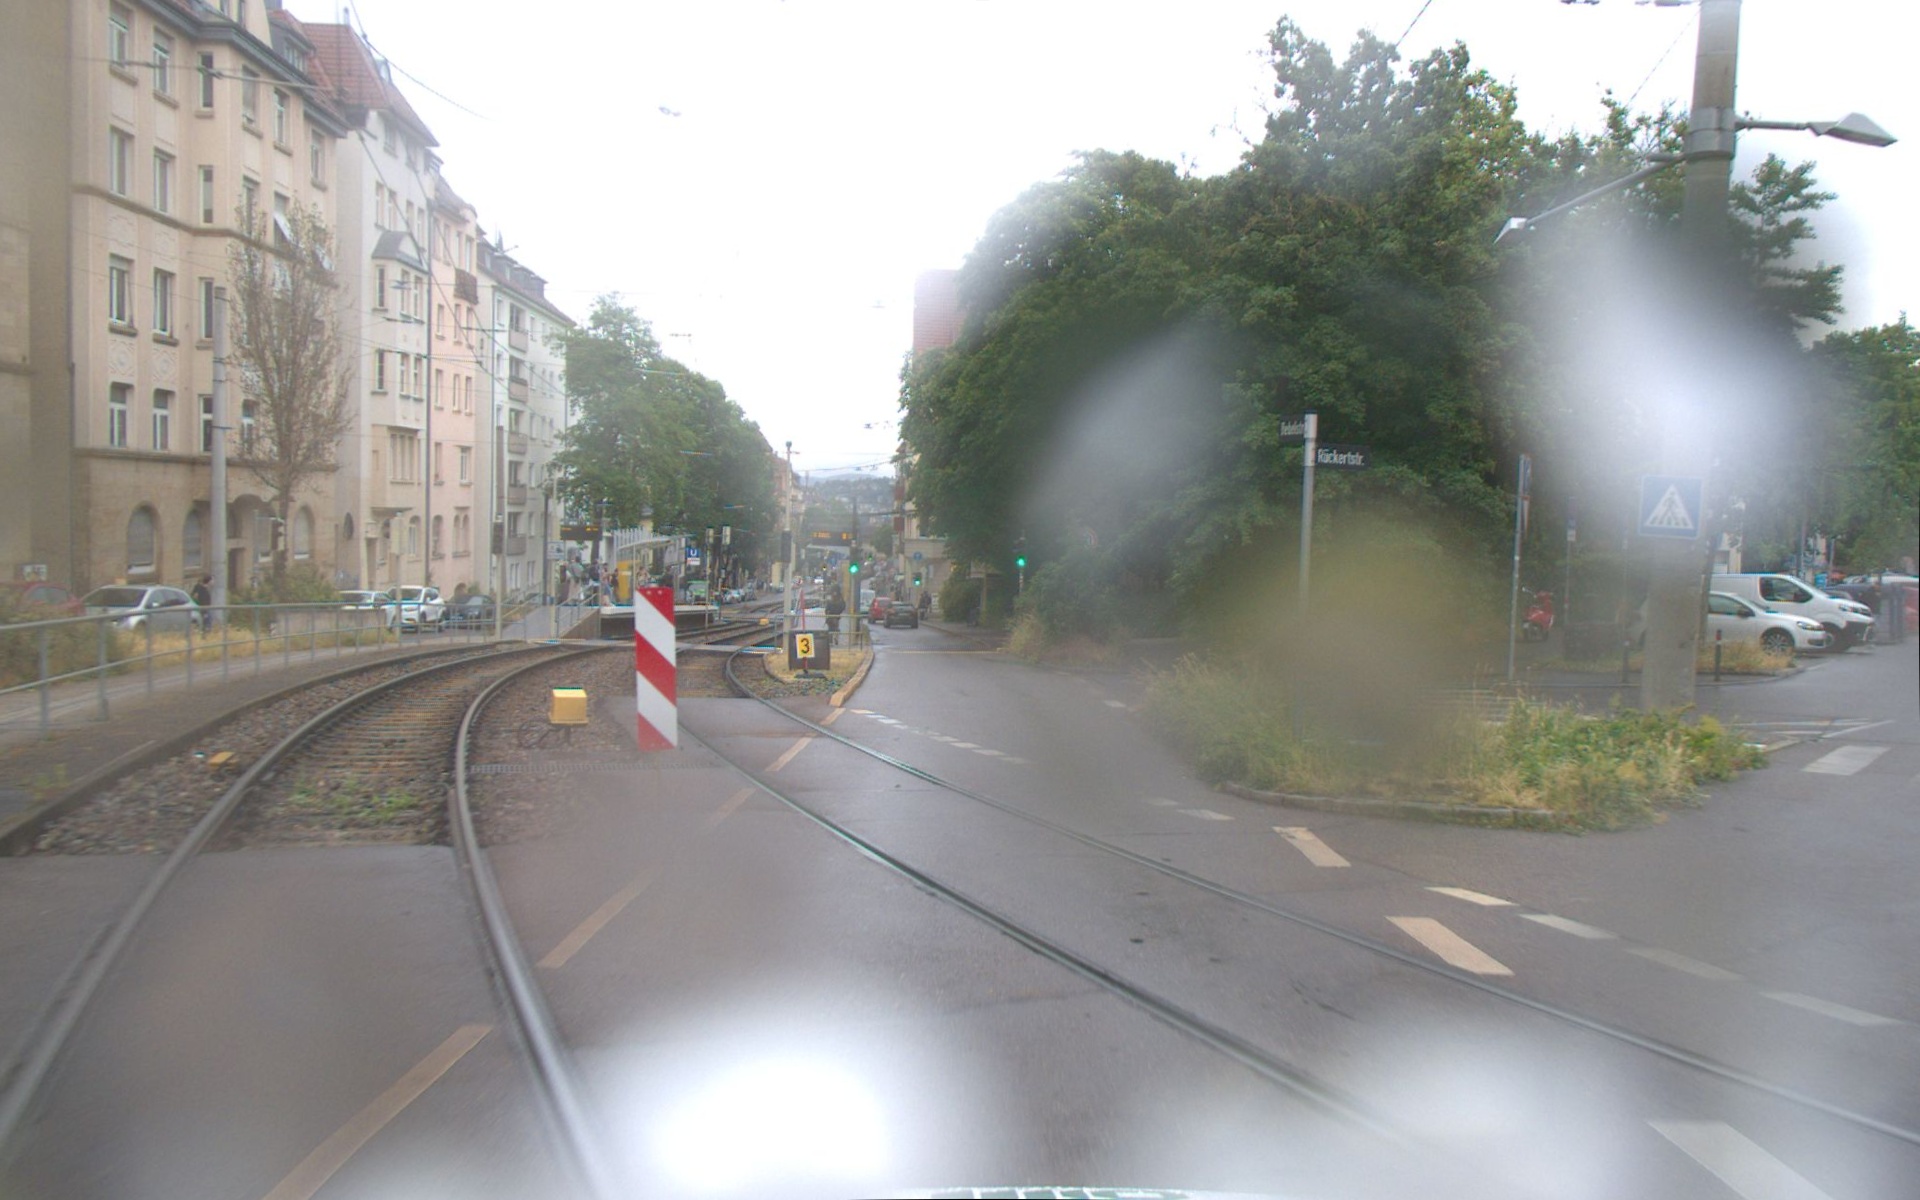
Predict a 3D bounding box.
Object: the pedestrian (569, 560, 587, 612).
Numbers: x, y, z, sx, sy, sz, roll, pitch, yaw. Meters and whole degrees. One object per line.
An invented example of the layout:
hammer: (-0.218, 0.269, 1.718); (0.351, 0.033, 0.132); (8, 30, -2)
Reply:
pedestrian: (-14.022, -0.504, 60.653); (0.550, 1.882, 0.598); (0, -1, -4)

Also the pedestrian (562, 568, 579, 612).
pedestrian: (-14.406, -0.373, 61.204); (0.506, 1.633, 0.562); (0, -1, -4)

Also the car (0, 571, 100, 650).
car: (-18.743, 0.181, 32.531); (1.598, 1.467, 4.172); (1, 0, -3)

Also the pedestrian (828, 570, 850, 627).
pedestrian: (-3.959, -0.053, 54.070); (0.637, 1.815, 0.847); (1, -1, -3)

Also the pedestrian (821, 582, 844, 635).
pedestrian: (-3.873, 0.251, 50.320); (0.637, 1.589, 0.683); (1, -1, -3)

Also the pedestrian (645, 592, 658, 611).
pedestrian: (-14.851, 0.072, 79.631); (0.539, 0.887, 0.613); (0, -1, -4)

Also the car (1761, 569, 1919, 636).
car: (25.988, 0.053, 48.794); (3.925, 1.802, 1.838); (2, 1, 39)

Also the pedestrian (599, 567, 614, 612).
pedestrian: (-14.740, -0.445, 69.035); (0.506, 1.870, 0.761); (0, -1, -3)

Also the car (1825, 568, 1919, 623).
car: (32.152, -0.154, 56.936); (3.925, 1.802, 1.838); (2, 1, 39)

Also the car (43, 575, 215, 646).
car: (-18.709, 0.238, 37.488); (1.683, 1.467, 4.864); (1, 0, -4)

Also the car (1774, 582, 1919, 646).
car: (27.442, 0.403, 50.951); (3.925, 1.802, 1.838); (2, 1, 39)

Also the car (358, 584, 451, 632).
car: (-19.859, 0.289, 59.308); (1.884, 1.651, 4.533); (0, 0, -2)

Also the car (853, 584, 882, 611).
car: (-6.601, -0.158, 117.549); (1.910, 1.824, 4.140); (2, -1, -5)

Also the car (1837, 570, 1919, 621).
car: (35.078, -0.156, 61.675); (3.925, 1.802, 1.838); (2, 1, 39)

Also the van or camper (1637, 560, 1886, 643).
van or camper: (19.251, 0.069, 39.876); (5.087, 1.866, 1.989); (-1, -1, 41)

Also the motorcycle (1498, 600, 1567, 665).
motorcycle: (13.418, 0.782, 38.708); (0.809, 1.398, 2.421); (6, 2, 35)

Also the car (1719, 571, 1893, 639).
car: (22.297, 0.147, 43.649); (3.829, 1.713, 1.730); (-1, -1, 38)

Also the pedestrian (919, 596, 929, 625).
pedestrian: (-2.337, 0.667, 107.709); (0.543, 1.845, 0.650); (2, -1, -6)

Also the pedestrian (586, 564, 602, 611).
pedestrian: (-14.508, -0.484, 65.505); (0.506, 1.870, 0.761); (0, -1, -3)

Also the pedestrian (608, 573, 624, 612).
pedestrian: (-14.869, -0.330, 71.566); (0.582, 1.695, 0.761); (0, -1, -3)

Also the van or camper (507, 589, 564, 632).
van or camper: (-20.659, 0.490, 80.548); (1.954, 2.049, 3.997); (1, 0, -4)

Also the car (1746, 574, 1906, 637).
car: (24.759, 0.175, 47.321); (3.829, 1.713, 1.730); (-1, -1, 38)

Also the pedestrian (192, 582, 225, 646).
pedestrian: (-18.714, 0.349, 41.187); (0.510, 1.558, 0.620); (1, -1, -2)

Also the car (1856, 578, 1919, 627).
car: (37.128, 0.123, 64.094); (3.925, 1.802, 1.838); (2, 1, 39)

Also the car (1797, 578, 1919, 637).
car: (29.731, 0.241, 54.088); (3.925, 1.802, 1.838); (2, 1, 39)

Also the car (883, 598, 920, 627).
car: (-3.256, 0.653, 91.449); (1.815, 1.499, 3.996); (1, 0, -5)

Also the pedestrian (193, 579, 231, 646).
pedestrian: (-18.300, 0.312, 40.481); (0.612, 1.621, 0.620); (1, -1, -2)

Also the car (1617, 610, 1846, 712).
car: (17.553, 1.347, 37.698); (4.419, 2.049, 1.992); (2, -1, 36)

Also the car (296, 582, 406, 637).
car: (-19.694, 0.340, 53.680); (1.954, 1.559, 4.529); (4, -2, -2)

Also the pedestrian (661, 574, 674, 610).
pedestrian: (-14.466, -0.398, 81.816); (0.539, 1.772, 0.613); (0, -1, -4)

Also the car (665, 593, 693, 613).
car: (-23.401, 0.230, 137.977); (1.691, 1.542, 4.494); (1, 1, -2)

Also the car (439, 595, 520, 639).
car: (-19.776, 0.718, 68.294); (1.953, 1.762, 4.812); (0, -1, -1)
